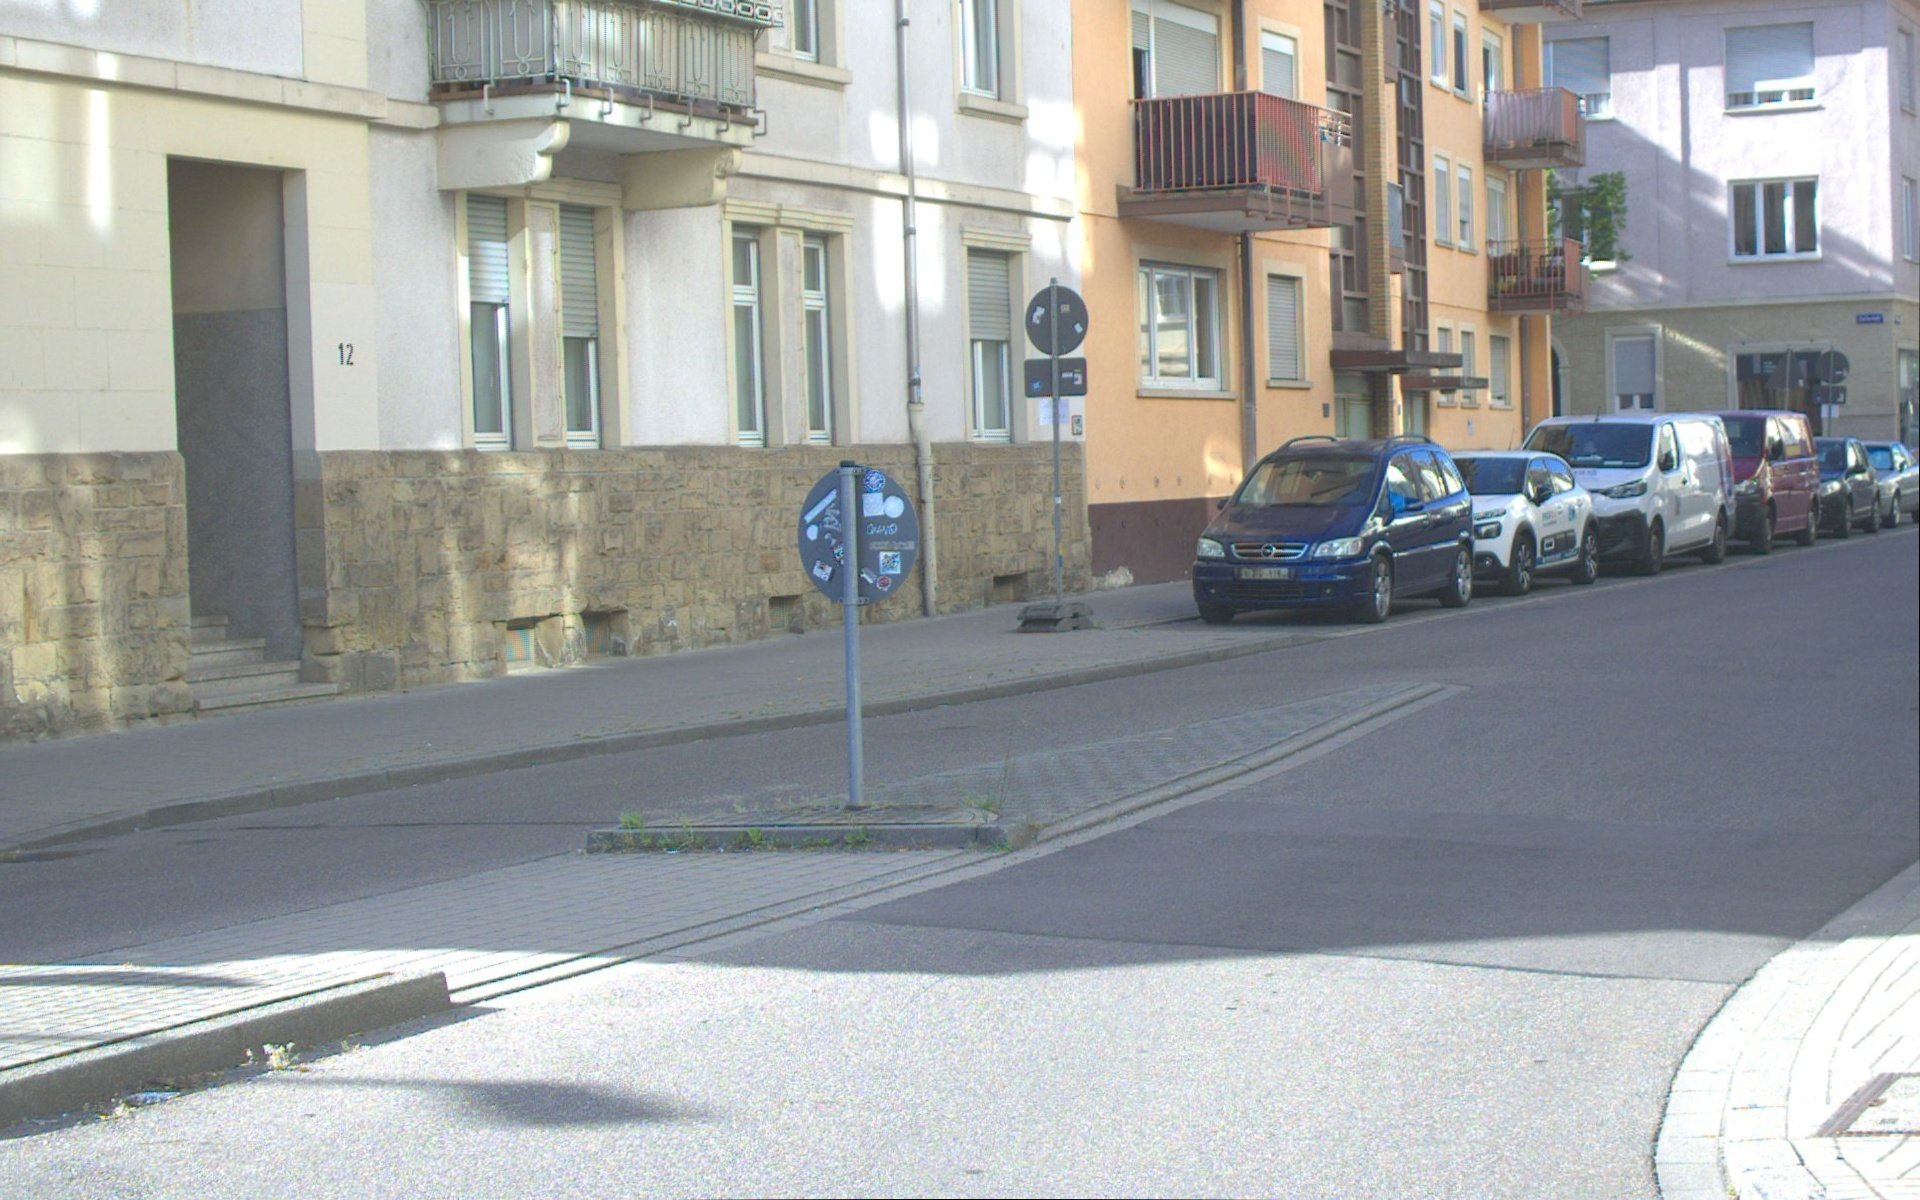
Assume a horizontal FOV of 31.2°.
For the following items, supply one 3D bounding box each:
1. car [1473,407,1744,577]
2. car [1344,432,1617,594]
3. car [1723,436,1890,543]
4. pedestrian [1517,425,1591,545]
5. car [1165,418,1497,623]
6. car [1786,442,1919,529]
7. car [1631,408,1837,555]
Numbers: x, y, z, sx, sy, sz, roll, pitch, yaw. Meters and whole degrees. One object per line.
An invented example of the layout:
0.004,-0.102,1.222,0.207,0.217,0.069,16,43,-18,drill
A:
7.939,-1.352,41.674,1.978,1.918,5.303,0,3,25,car
5.655,-0.973,36.924,1.765,1.615,4.290,0,3,25,car
12.920,-1.710,52.326,1.765,1.497,3.996,-1,2,24,car
9.088,-1.756,52.570,0.925,1.811,0.994,0,2,22,pedestrian
3.524,-0.790,31.930,1.765,1.765,4.289,0,3,25,car
15.174,-1.937,57.412,1.765,1.372,4.472,0,3,26,car
10.723,-1.664,47.393,1.765,1.918,4.929,0,3,25,car
